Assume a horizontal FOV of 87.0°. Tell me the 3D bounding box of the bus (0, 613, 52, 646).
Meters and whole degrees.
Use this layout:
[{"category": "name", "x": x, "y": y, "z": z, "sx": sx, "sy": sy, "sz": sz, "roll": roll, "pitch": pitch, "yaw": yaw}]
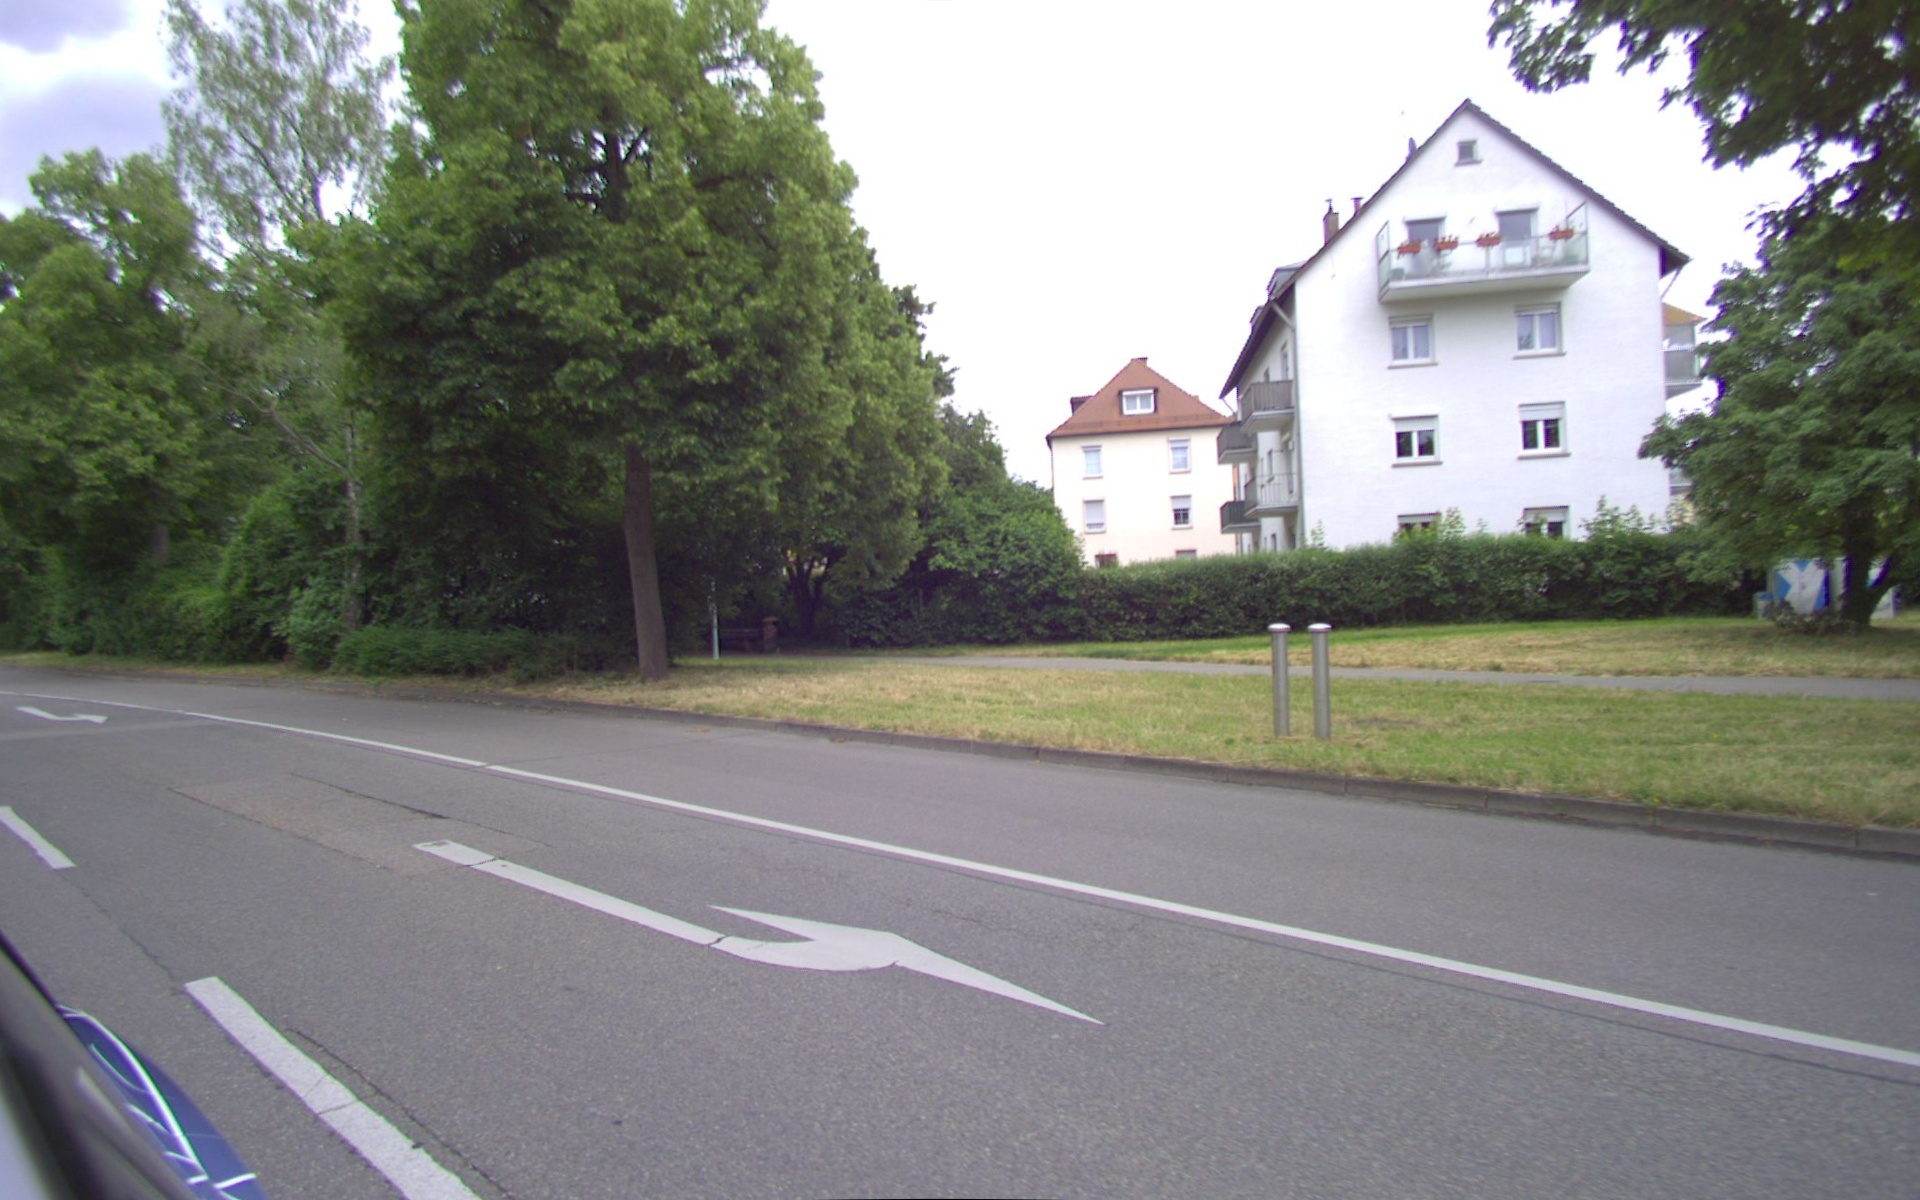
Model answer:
[{"category": "bus", "x": -93.492, "y": 2.965, "z": 98.502, "sx": 3.007, "sy": 3.031, "sz": 8.441, "roll": -4, "pitch": 1, "yaw": -5}]
